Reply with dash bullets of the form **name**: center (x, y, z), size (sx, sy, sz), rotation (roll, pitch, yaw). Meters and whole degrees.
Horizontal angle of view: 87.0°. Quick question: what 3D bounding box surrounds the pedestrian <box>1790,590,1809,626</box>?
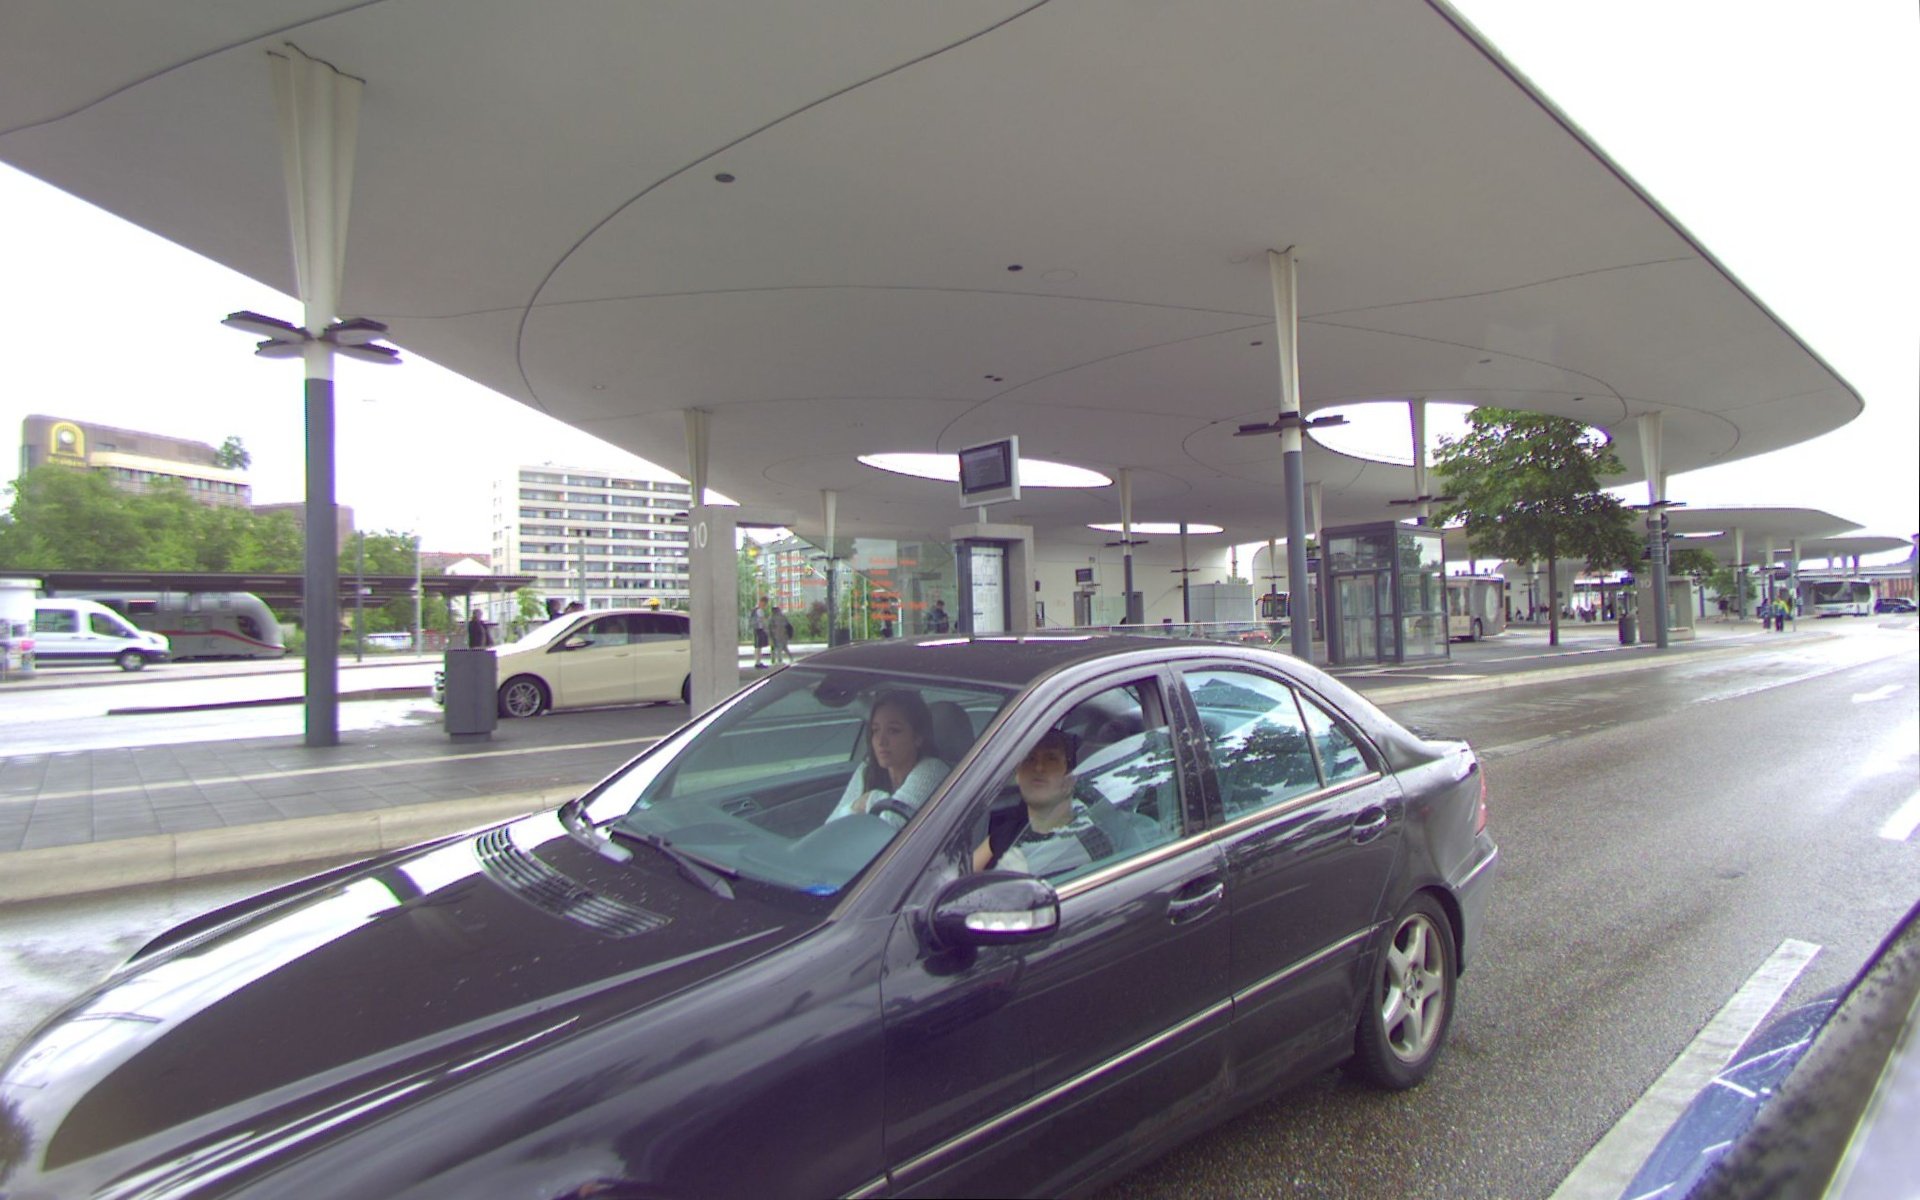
- **pedestrian**: center (38.856, 0.381, 46.854), size (0.543, 1.645, 0.556), rotation (0, -1, -41)

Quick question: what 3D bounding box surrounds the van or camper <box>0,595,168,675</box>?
- **van or camper**: center (-29.783, 1.096, 33.236), size (5.868, 2.495, 2.106), rotation (0, -1, -41)

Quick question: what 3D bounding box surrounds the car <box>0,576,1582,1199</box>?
- **car**: center (0.045, 0.808, 3.033), size (4.358, 1.499, 1.747), rotation (-2, -4, -41)

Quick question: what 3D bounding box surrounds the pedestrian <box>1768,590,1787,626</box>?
- **pedestrian**: center (38.351, 0.380, 47.462), size (0.577, 1.645, 0.576), rotation (0, -1, -41)

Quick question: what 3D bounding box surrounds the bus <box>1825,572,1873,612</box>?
- **bus**: center (75.366, -0.672, 85.721), size (2.666, 3.169, 9.565), rotation (-1, -1, 43)

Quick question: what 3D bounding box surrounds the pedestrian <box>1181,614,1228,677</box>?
- **pedestrian**: center (5.013, 0.917, 20.757), size (0.657, 1.268, 0.692), rotation (0, -1, -41)

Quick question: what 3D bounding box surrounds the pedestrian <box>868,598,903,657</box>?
- **pedestrian**: center (-1.980, 0.718, 27.045), size (0.680, 1.564, 0.658), rotation (0, -1, -40)

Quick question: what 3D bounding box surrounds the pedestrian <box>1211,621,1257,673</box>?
- **pedestrian**: center (5.316, 0.901, 19.654), size (0.626, 0.974, 0.622), rotation (0, -1, -41)

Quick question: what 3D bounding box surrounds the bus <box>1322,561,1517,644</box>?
- **bus**: center (20.081, 0.069, 43.598), size (12.141, 3.146, 3.000), rotation (0, -1, -42)

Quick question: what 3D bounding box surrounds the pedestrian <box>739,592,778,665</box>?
- **pedestrian**: center (-4.835, 0.669, 24.302), size (0.680, 1.728, 0.658), rotation (0, -1, -40)

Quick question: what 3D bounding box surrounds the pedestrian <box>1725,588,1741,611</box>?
- **pedestrian**: center (55.773, -0.037, 73.022), size (0.740, 1.651, 0.723), rotation (0, -1, -41)

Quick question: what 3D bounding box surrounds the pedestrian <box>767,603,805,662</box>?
- **pedestrian**: center (-5.055, 0.932, 29.384), size (0.646, 1.654, 0.854), rotation (-1, -1, 43)

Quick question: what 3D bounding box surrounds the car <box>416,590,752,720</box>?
- **car**: center (-5.517, 0.746, 15.144), size (4.356, 1.671, 1.803), rotation (0, -3, -41)

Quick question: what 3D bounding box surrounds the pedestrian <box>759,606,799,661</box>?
- **pedestrian**: center (-5.066, 0.922, 28.256), size (0.732, 1.497, 0.825), rotation (-1, -1, 43)

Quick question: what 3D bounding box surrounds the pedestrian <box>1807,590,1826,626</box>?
- **pedestrian**: center (39.215, 0.382, 46.351), size (0.543, 1.645, 0.556), rotation (0, -1, -41)
